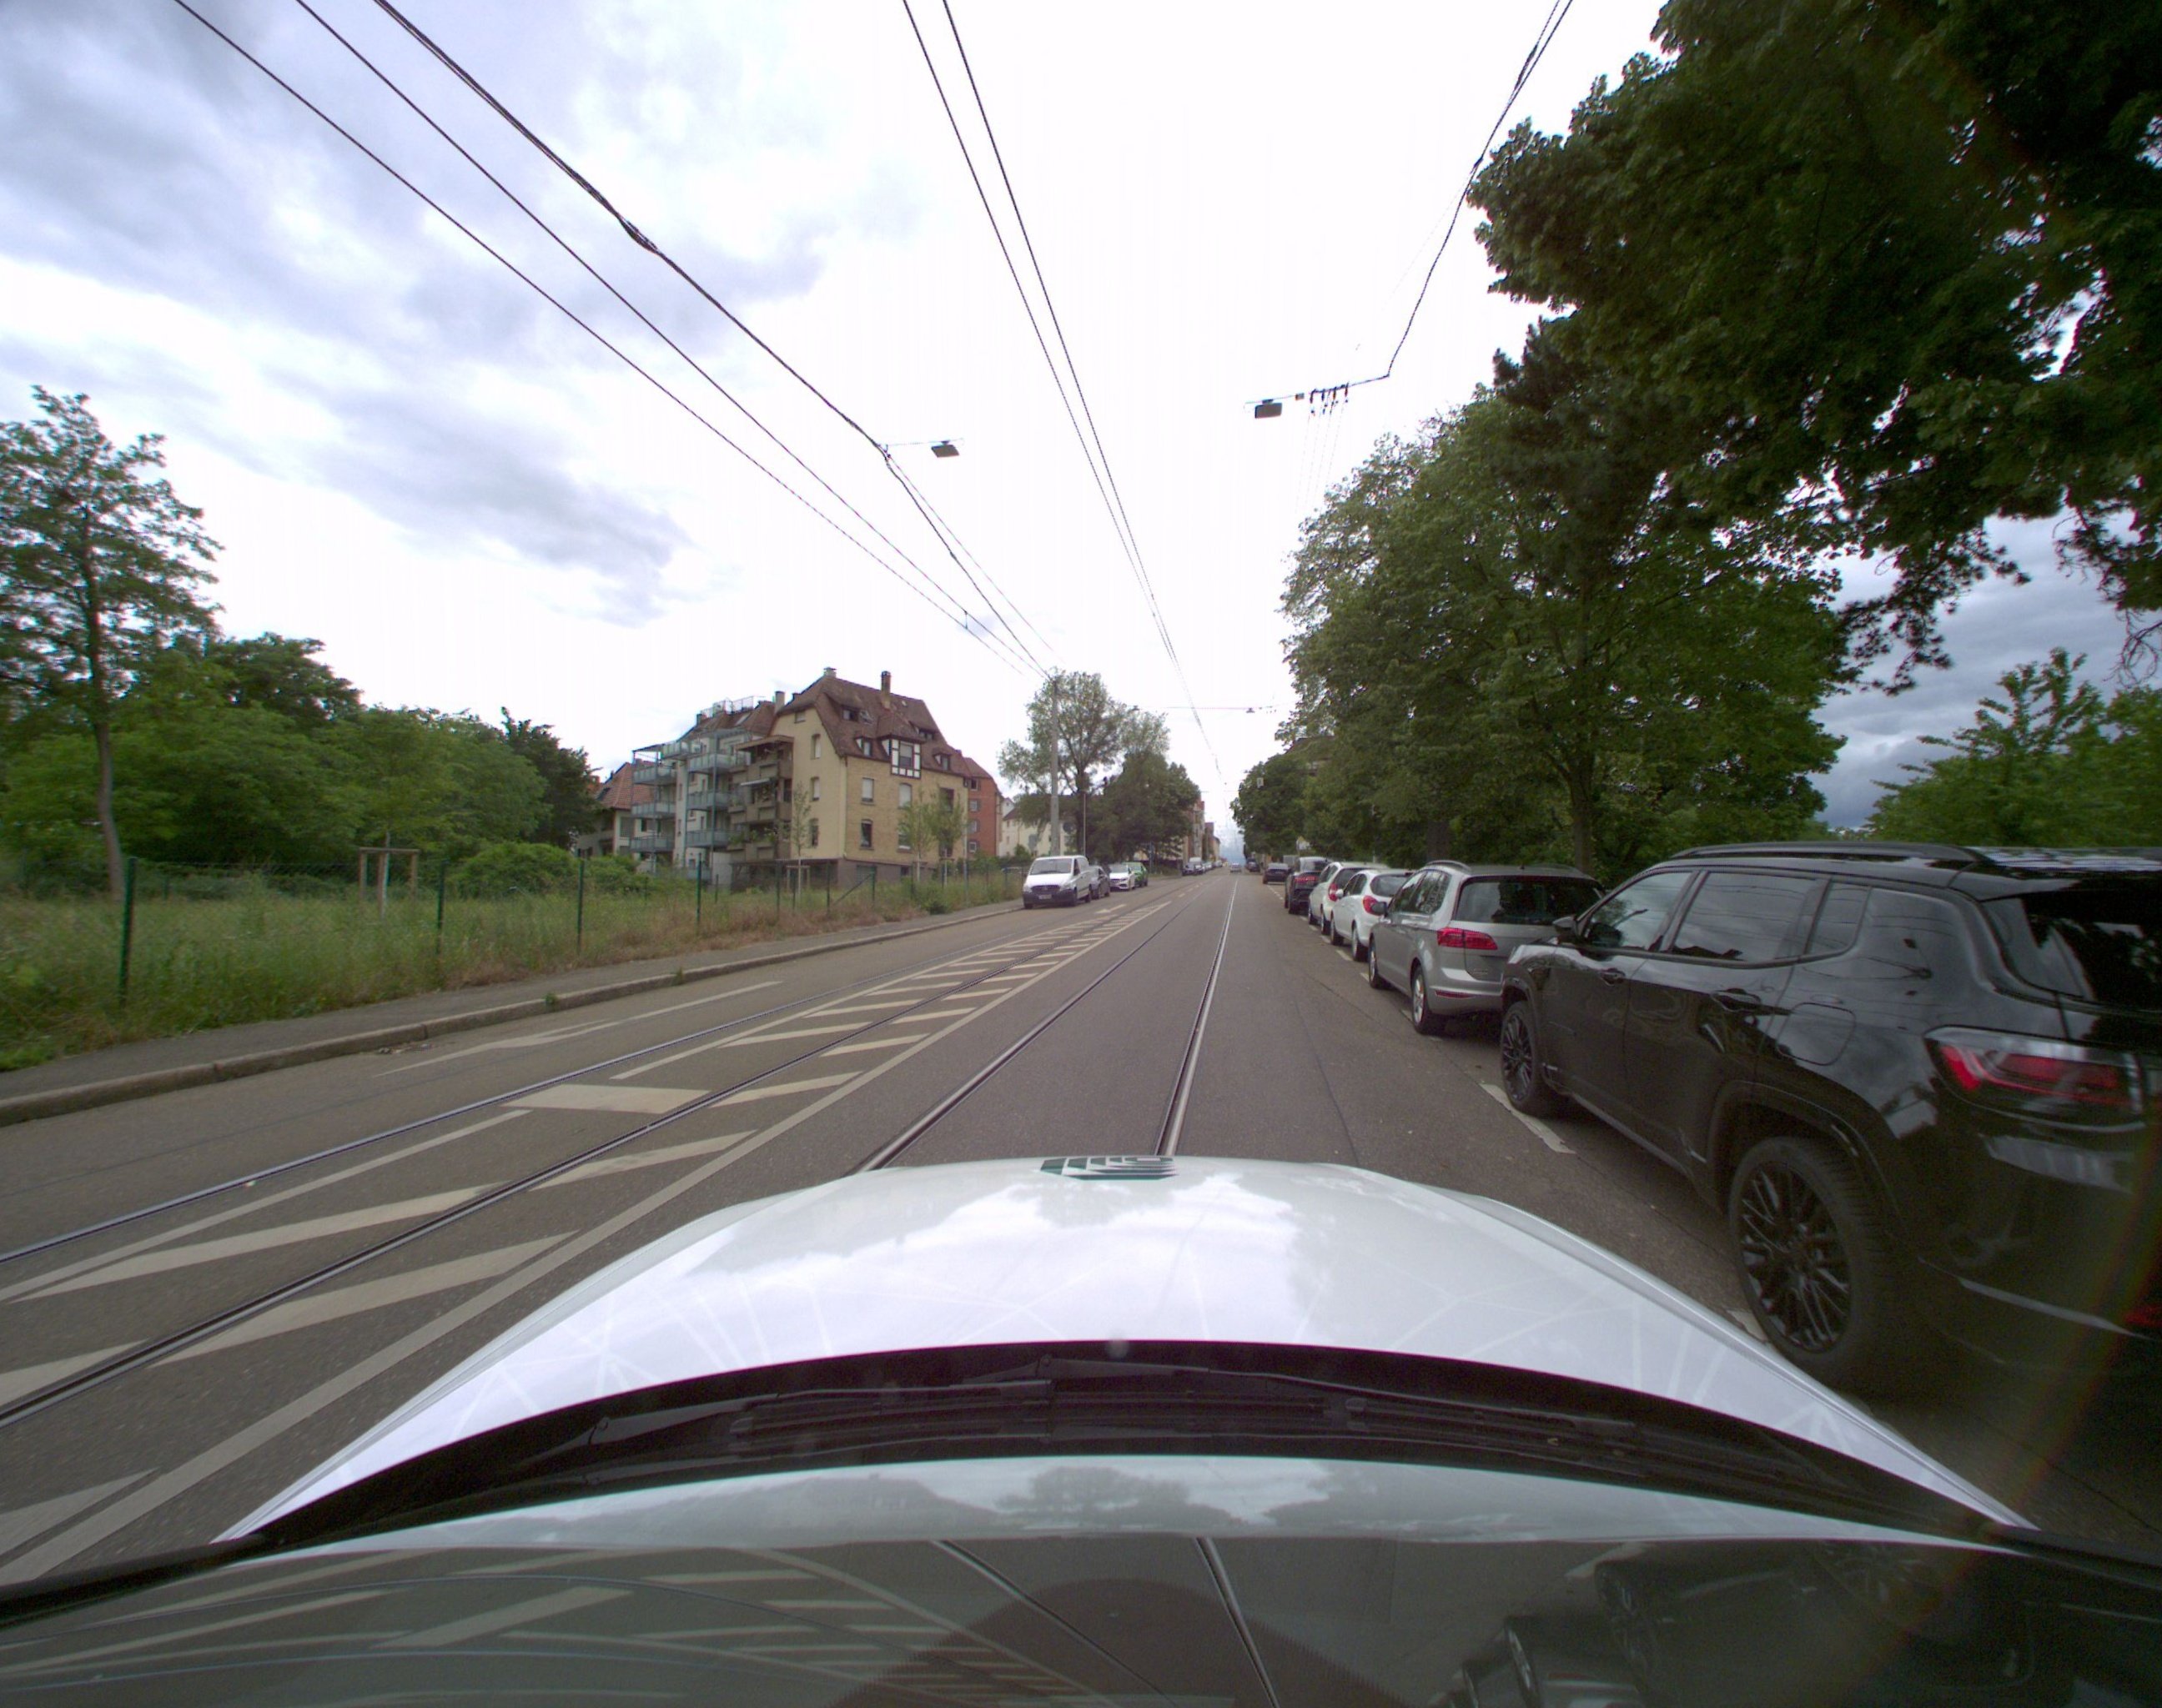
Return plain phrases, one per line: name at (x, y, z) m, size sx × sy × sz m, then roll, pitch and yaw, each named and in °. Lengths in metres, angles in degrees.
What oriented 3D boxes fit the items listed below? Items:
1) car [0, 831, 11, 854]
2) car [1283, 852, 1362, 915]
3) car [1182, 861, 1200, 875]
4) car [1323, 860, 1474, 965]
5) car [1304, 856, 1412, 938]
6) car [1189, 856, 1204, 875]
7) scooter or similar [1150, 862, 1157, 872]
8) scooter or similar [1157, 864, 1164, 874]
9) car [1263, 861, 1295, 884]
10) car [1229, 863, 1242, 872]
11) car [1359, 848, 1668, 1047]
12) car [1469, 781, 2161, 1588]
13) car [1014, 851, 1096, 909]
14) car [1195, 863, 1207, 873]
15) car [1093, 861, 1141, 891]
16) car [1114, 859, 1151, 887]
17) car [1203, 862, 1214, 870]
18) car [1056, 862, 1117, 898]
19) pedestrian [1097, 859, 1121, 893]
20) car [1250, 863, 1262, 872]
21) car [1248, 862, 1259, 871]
car at (-79.710, -0.875, 58.930) m, size 1.847 × 1.658 × 4.083 m, roll 1°, pitch -2°, yaw -40°
car at (7.277, 0.824, 24.956) m, size 1.865 × 1.678 × 5.078 m, roll 1°, pitch 0°, yaw 12°
car at (14.869, 1.892, 109.782) m, size 1.980 × 1.808 × 4.013 m, roll 0°, pitch -2°, yaw 12°
car at (5.356, 0.890, 14.231) m, size 1.619 × 1.516 × 4.074 m, roll 2°, pitch 0°, yaw 9°
car at (6.331, 0.909, 19.040) m, size 1.716 × 1.631 × 4.099 m, roll 3°, pitch 0°, yaw 10°
car at (17.615, 1.752, 124.062) m, size 2.217 × 2.764 × 5.813 m, roll 0°, pitch -2°, yaw 9°
scooter or similar at (9.415, 1.726, 105.843) m, size 0.686 × 1.339 × 1.644 m, roll 0°, pitch -2°, yaw 12°
scooter or similar at (10.330, 1.933, 105.587) m, size 0.686 × 1.339 × 1.644 m, roll 0°, pitch -2°, yaw 12°
car at (13.279, 1.217, 54.833) m, size 1.816 × 1.430 × 4.861 m, roll 1°, pitch -1°, yaw 11°
car at (25.629, 2.265, 135.037) m, size 1.981 × 1.499 × 4.324 m, roll 0°, pitch -2°, yaw 11°
car at (4.225, 0.775, 8.775) m, size 1.723 × 1.576 × 4.377 m, roll 0°, pitch -1°, yaw 11°
car at (3.378, 0.691, 3.747) m, size 1.891 × 1.615 × 4.615 m, roll 0°, pitch -1°, yaw 12°
car at (-0.863, 0.972, 30.768) m, size 2.023 × 1.882 × 4.898 m, roll -3°, pitch -2°, yaw 10°
car at (19.784, 2.346, 134.170) m, size 1.982 × 1.600 × 4.322 m, roll 0°, pitch -1°, yaw 9°
car at (2.044, 1.177, 44.573) m, size 1.873 × 1.526 × 4.677 m, roll -2°, pitch -1°, yaw 11°
car at (3.207, 1.164, 50.133) m, size 1.712 × 1.580 × 4.193 m, roll -2°, pitch -1°, yaw 11°
car at (26.216, 2.528, 167.174) m, size 1.911 × 1.601 × 4.012 m, roll 0°, pitch -2°, yaw 11°
car at (0.321, 1.136, 36.574) m, size 1.884 × 1.433 × 4.525 m, roll -2°, pitch -1°, yaw 11°
pedestrian at (1.348, 1.050, 39.526) m, size 0.810 × 1.629 × 0.907 m, roll 1°, pitch -2°, yaw -32°
car at (29.360, 2.299, 136.565) m, size 1.980 × 1.530 × 4.326 m, roll 0°, pitch -2°, yaw 12°
car at (33.230, 2.487, 156.841) m, size 1.980 × 1.717 × 4.012 m, roll -1°, pitch -2°, yaw 11°
